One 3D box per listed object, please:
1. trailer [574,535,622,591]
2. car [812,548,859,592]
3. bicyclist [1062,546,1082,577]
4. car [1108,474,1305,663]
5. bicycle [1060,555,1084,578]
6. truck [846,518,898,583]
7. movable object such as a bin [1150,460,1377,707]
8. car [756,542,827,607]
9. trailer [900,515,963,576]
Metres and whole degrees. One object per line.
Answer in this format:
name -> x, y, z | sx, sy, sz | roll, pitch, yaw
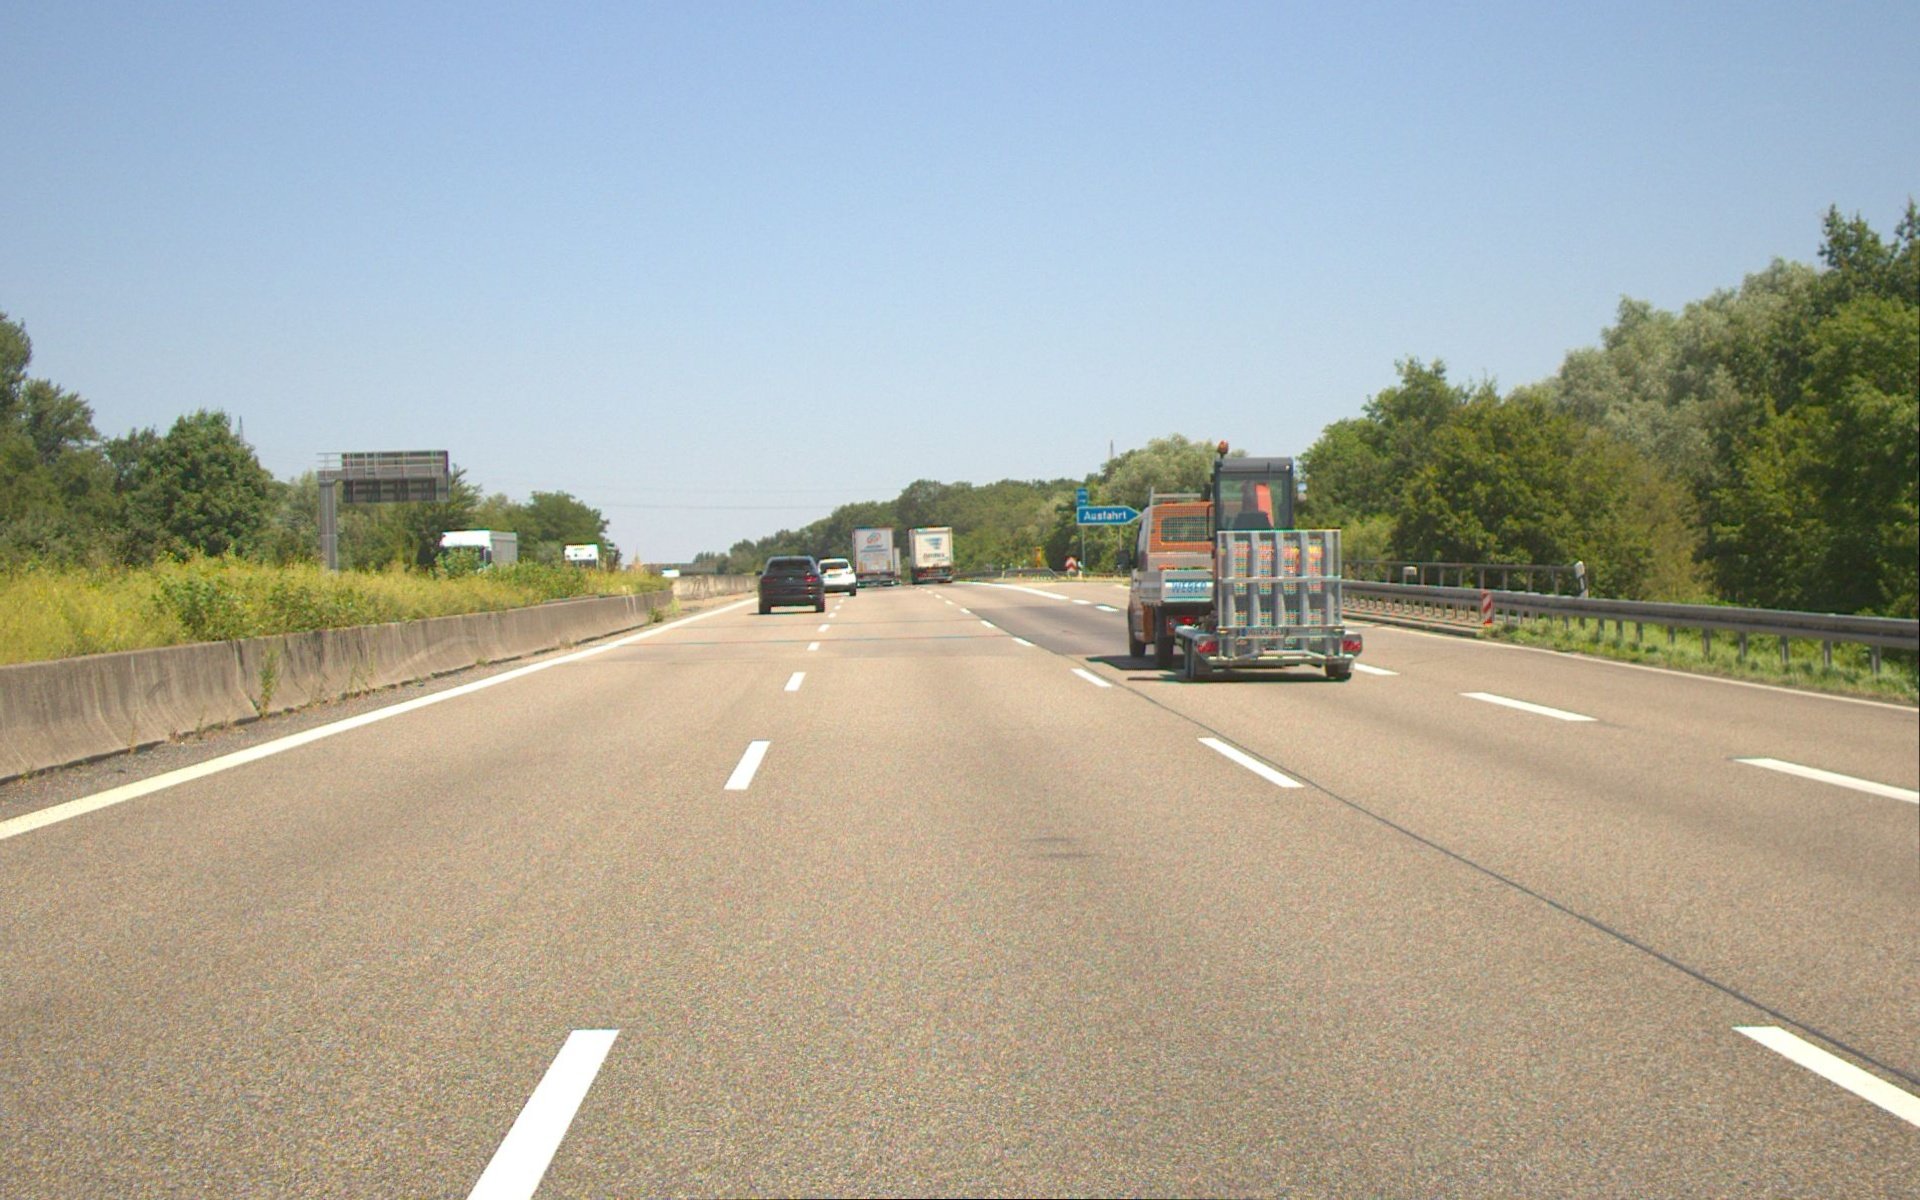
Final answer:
trailer -> -26.627, -2.727, 253.175 | 2.807, 4.033, 10.432 | 1, 1, -3
car -> -5.482, -1.337, 151.369 | 1.993, 1.868, 4.000 | -1, 1, -1
bicyclist -> 5.737, -1.964, 176.404 | 0.960, 1.590, 0.807 | 1, 0, 7
car -> 3.378, -0.448, 48.529 | 1.993, 2.397, 7.227 | -2, 1, -1
bicycle -> 5.753, -1.723, 176.512 | 0.960, 1.153, 2.606 | 1, 1, 7
truck -> -5.792, -3.236, 225.862 | 3.229, 4.188, 8.467 | 0, 1, -3
movable object such as a bin -> 3.668, -0.215, 42.440 | 2.174, 2.806, 4.761 | -2, 1, -1
car -> -5.114, -0.771, 104.783 | 1.993, 1.868, 4.000 | -2, 1, -1
trailer -> -2.008, -3.775, 240.115 | 3.367, 4.128, 9.093 | 1, 1, -7
